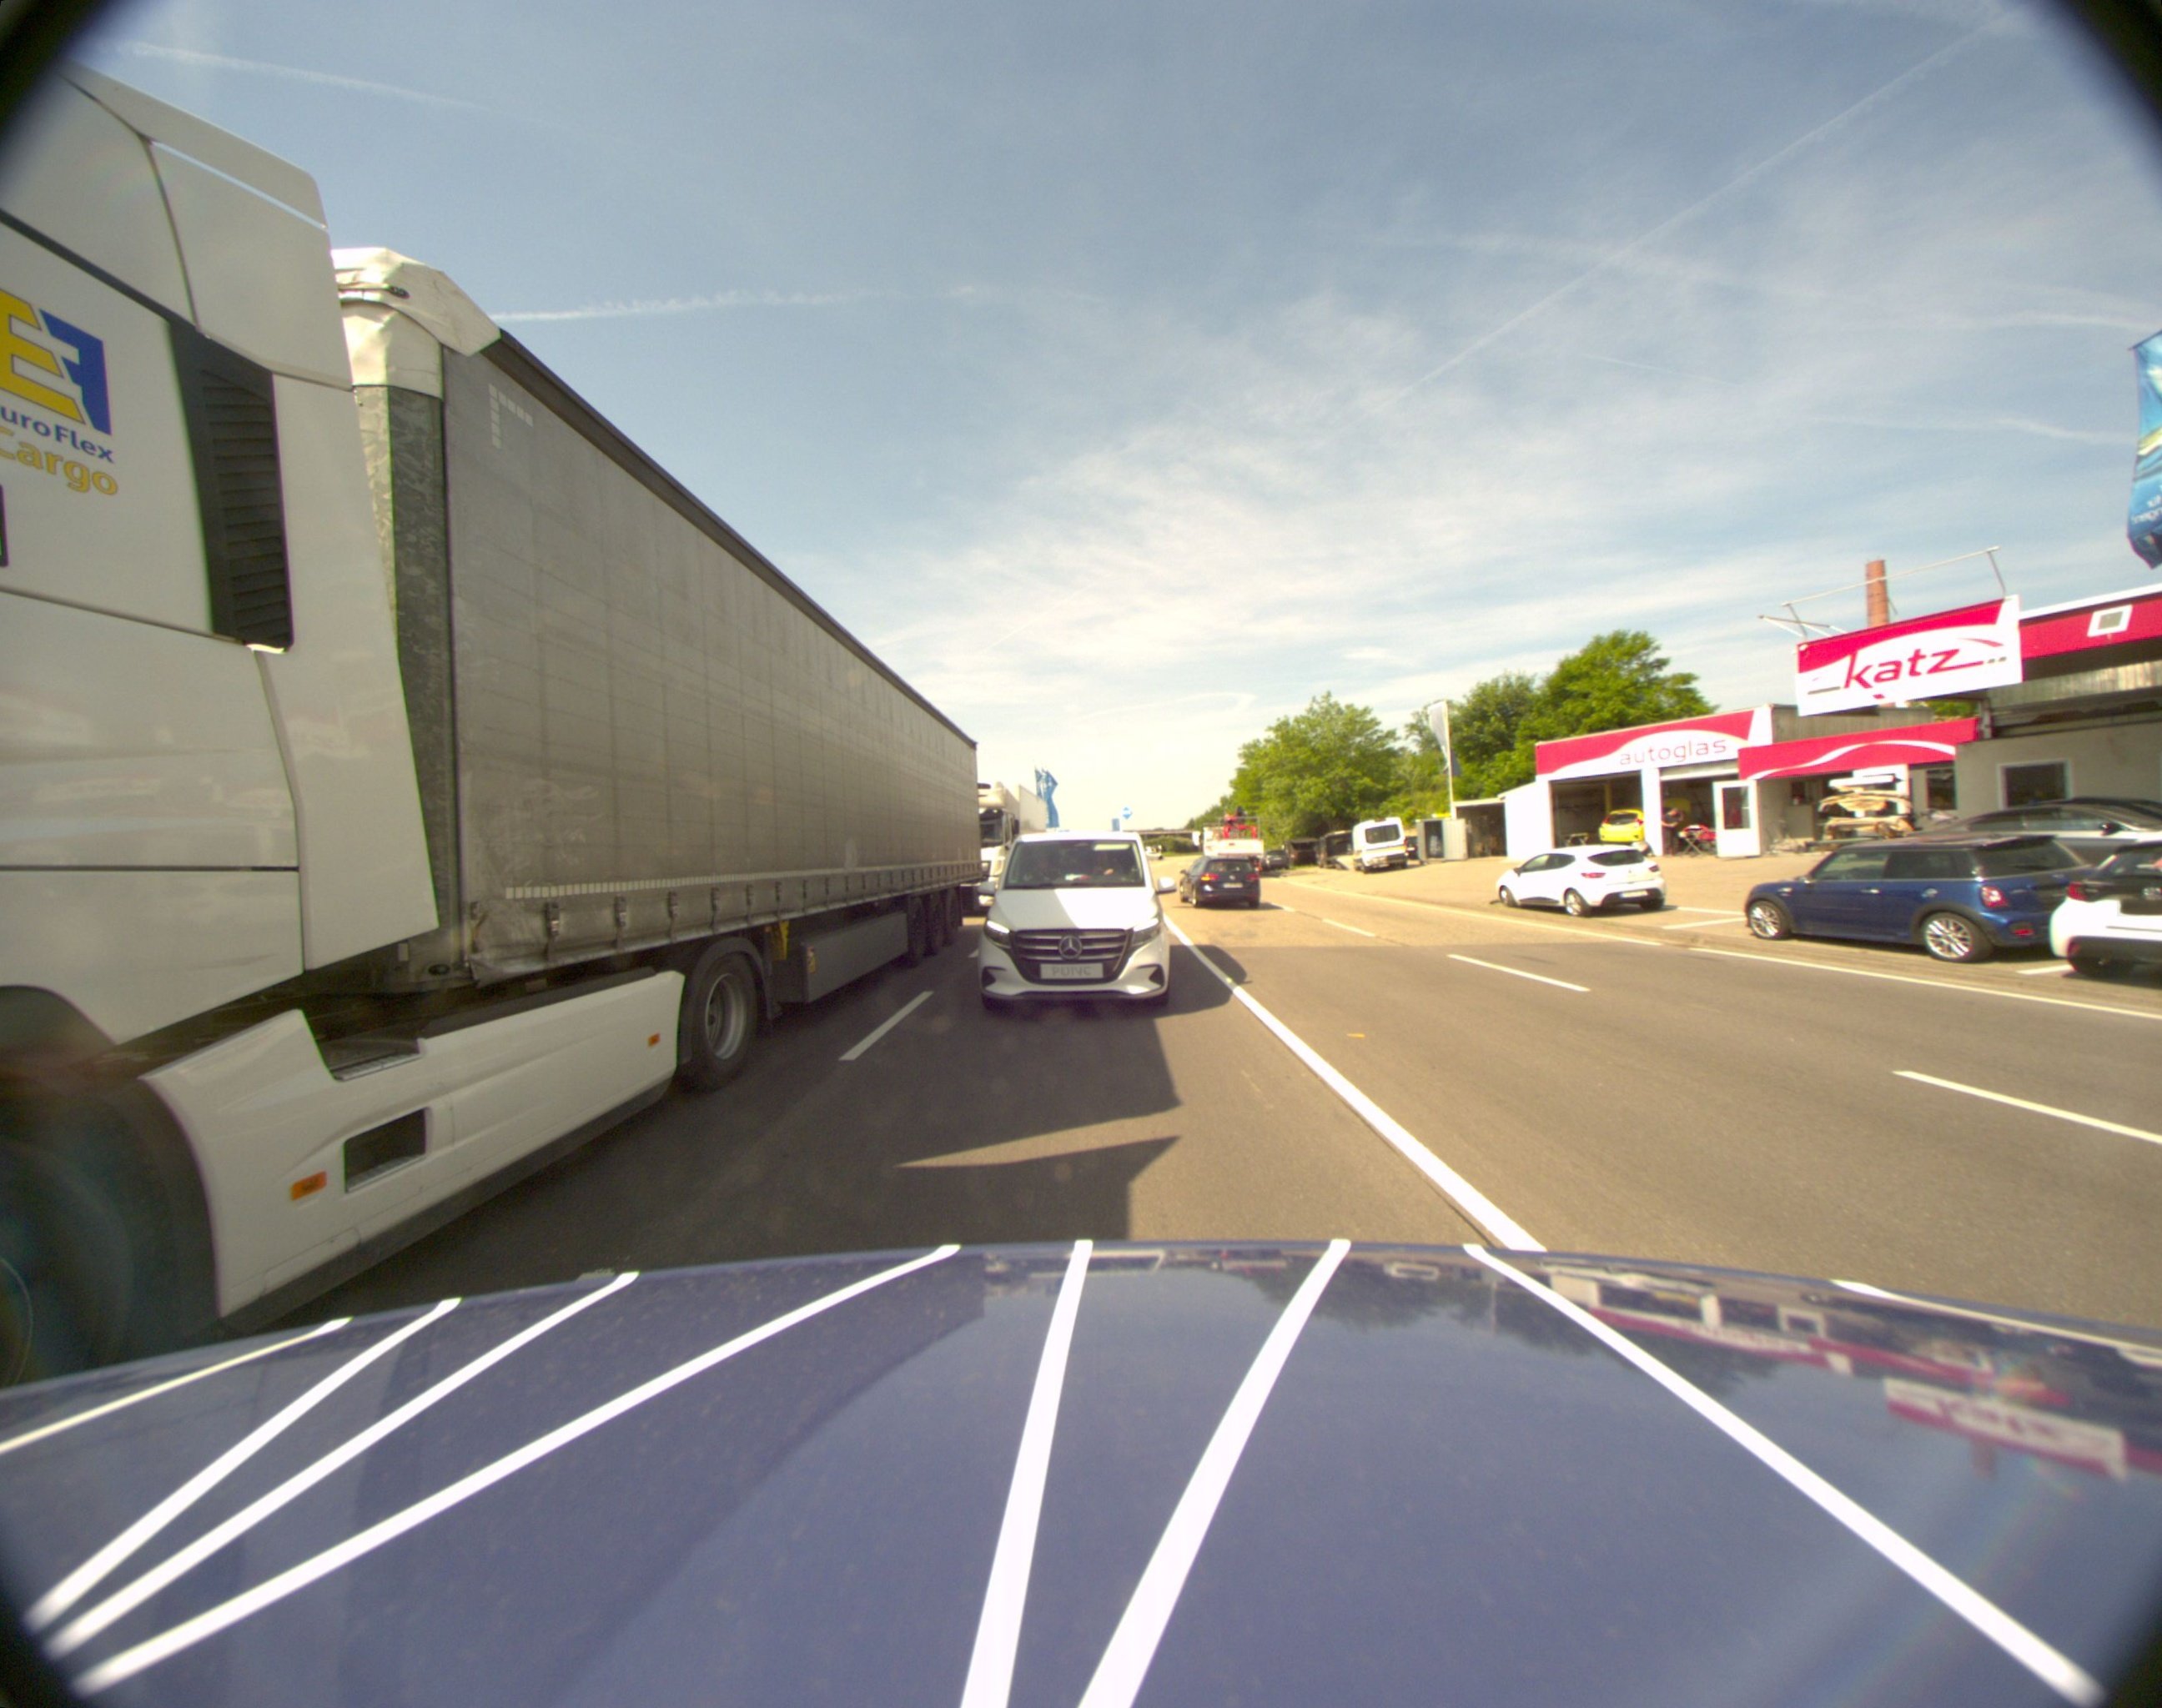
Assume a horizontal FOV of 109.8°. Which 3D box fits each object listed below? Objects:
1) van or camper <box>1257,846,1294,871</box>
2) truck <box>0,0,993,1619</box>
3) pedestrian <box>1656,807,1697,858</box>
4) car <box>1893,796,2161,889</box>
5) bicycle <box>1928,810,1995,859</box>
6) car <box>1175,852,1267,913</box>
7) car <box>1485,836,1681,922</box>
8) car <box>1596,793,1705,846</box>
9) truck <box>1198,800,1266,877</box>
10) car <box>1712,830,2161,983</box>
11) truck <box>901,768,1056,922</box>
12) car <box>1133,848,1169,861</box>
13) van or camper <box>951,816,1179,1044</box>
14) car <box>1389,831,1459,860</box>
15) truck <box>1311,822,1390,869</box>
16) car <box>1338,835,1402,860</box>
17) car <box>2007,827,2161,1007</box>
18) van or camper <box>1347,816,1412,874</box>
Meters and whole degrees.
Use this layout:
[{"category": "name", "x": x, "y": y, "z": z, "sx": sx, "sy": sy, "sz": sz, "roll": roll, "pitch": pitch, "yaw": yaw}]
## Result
[{"category": "van or camper", "x": 13.283, "y": 0.266, "z": 52.109, "sx": 1.643, "sy": 1.515, "sz": 4.468, "roll": -3, "pitch": 1, "yaw": 5}, {"category": "truck", "x": -3.733, "y": -0.409, "z": 8.261, "sx": 2.897, "sy": 4.241, "sz": 16.709, "roll": -2, "pitch": 0, "yaw": 2}, {"category": "pedestrian", "x": 20.990, "y": -0.750, "z": 26.812, "sx": 0.724, "sy": 1.752, "sz": 0.894, "roll": -3, "pitch": 2, "yaw": 3}, {"category": "car", "x": 18.742, "y": -0.208, "z": 14.212, "sx": 1.861, "sy": 1.496, "sz": 4.389, "roll": -6, "pitch": -1, "yaw": -22}, {"category": "bicycle", "x": 21.743, "y": -0.492, "z": 18.755, "sx": 2.000, "sy": 0.966, "sz": 0.414, "roll": -8, "pitch": 3, "yaw": -21}, {"category": "car", "x": 3.955, "y": 0.749, "z": 22.164, "sx": 1.811, "sy": 1.551, "sz": 4.386, "roll": -2, "pitch": 0, "yaw": 0}, {"category": "car", "x": 11.016, "y": 0.475, "z": 17.064, "sx": 1.783, "sy": 1.608, "sz": 4.000, "roll": -3, "pitch": 1, "yaw": 2}, {"category": "car", "x": 22.612, "y": -1.370, "z": 30.190, "sx": 3.674, "sy": 1.715, "sz": 1.736, "roll": -6, "pitch": 2, "yaw": -22}, {"category": "truck", "x": 9.132, "y": -0.873, "z": 47.184, "sx": 2.962, "sy": 4.184, "sz": 10.650, "roll": -1, "pitch": 0, "yaw": 5}, {"category": "car", "x": 10.996, "y": 0.562, "z": 10.234, "sx": 1.783, "sy": 1.485, "sz": 3.781, "roll": -7, "pitch": 1, "yaw": 2}, {"category": "truck", "x": -2.787, "y": -0.264, "z": 24.836, "sx": 2.886, "sy": 3.789, "sz": 11.142, "roll": -2, "pitch": 1, "yaw": 3}, {"category": "car", "x": 9.105, "y": 0.045, "z": 98.679, "sx": 4.393, "sy": 1.551, "sz": 1.808, "roll": -2, "pitch": 1, "yaw": -31}, {"category": "van or camper", "x": -0.047, "y": 0.668, "z": 9.419, "sx": 1.998, "sy": 2.002, "sz": 5.290, "roll": -1, "pitch": 0, "yaw": 2}, {"category": "car", "x": 20.382, "y": -0.517, "z": 45.154, "sx": 3.675, "sy": 1.521, "sz": 1.736, "roll": -3, "pitch": 1, "yaw": -22}, {"category": "truck", "x": 16.171, "y": -0.521, "z": 46.248, "sx": 2.335, "sy": 2.283, "sz": 8.805, "roll": -7, "pitch": 0, "yaw": 6}, {"category": "car", "x": 19.680, "y": -0.443, "z": 51.858, "sx": 3.671, "sy": 1.502, "sz": 1.716, "roll": -3, "pitch": 1, "yaw": -8}, {"category": "car", "x": 11.646, "y": 0.453, "z": 7.080, "sx": 3.806, "sy": 1.516, "sz": 1.846, "roll": -6, "pitch": 1, "yaw": -2}, {"category": "van or camper", "x": 14.936, "y": -0.472, "z": 38.371, "sx": 2.157, "sy": 2.484, "sz": 5.955, "roll": -6, "pitch": 0, "yaw": 15}]
